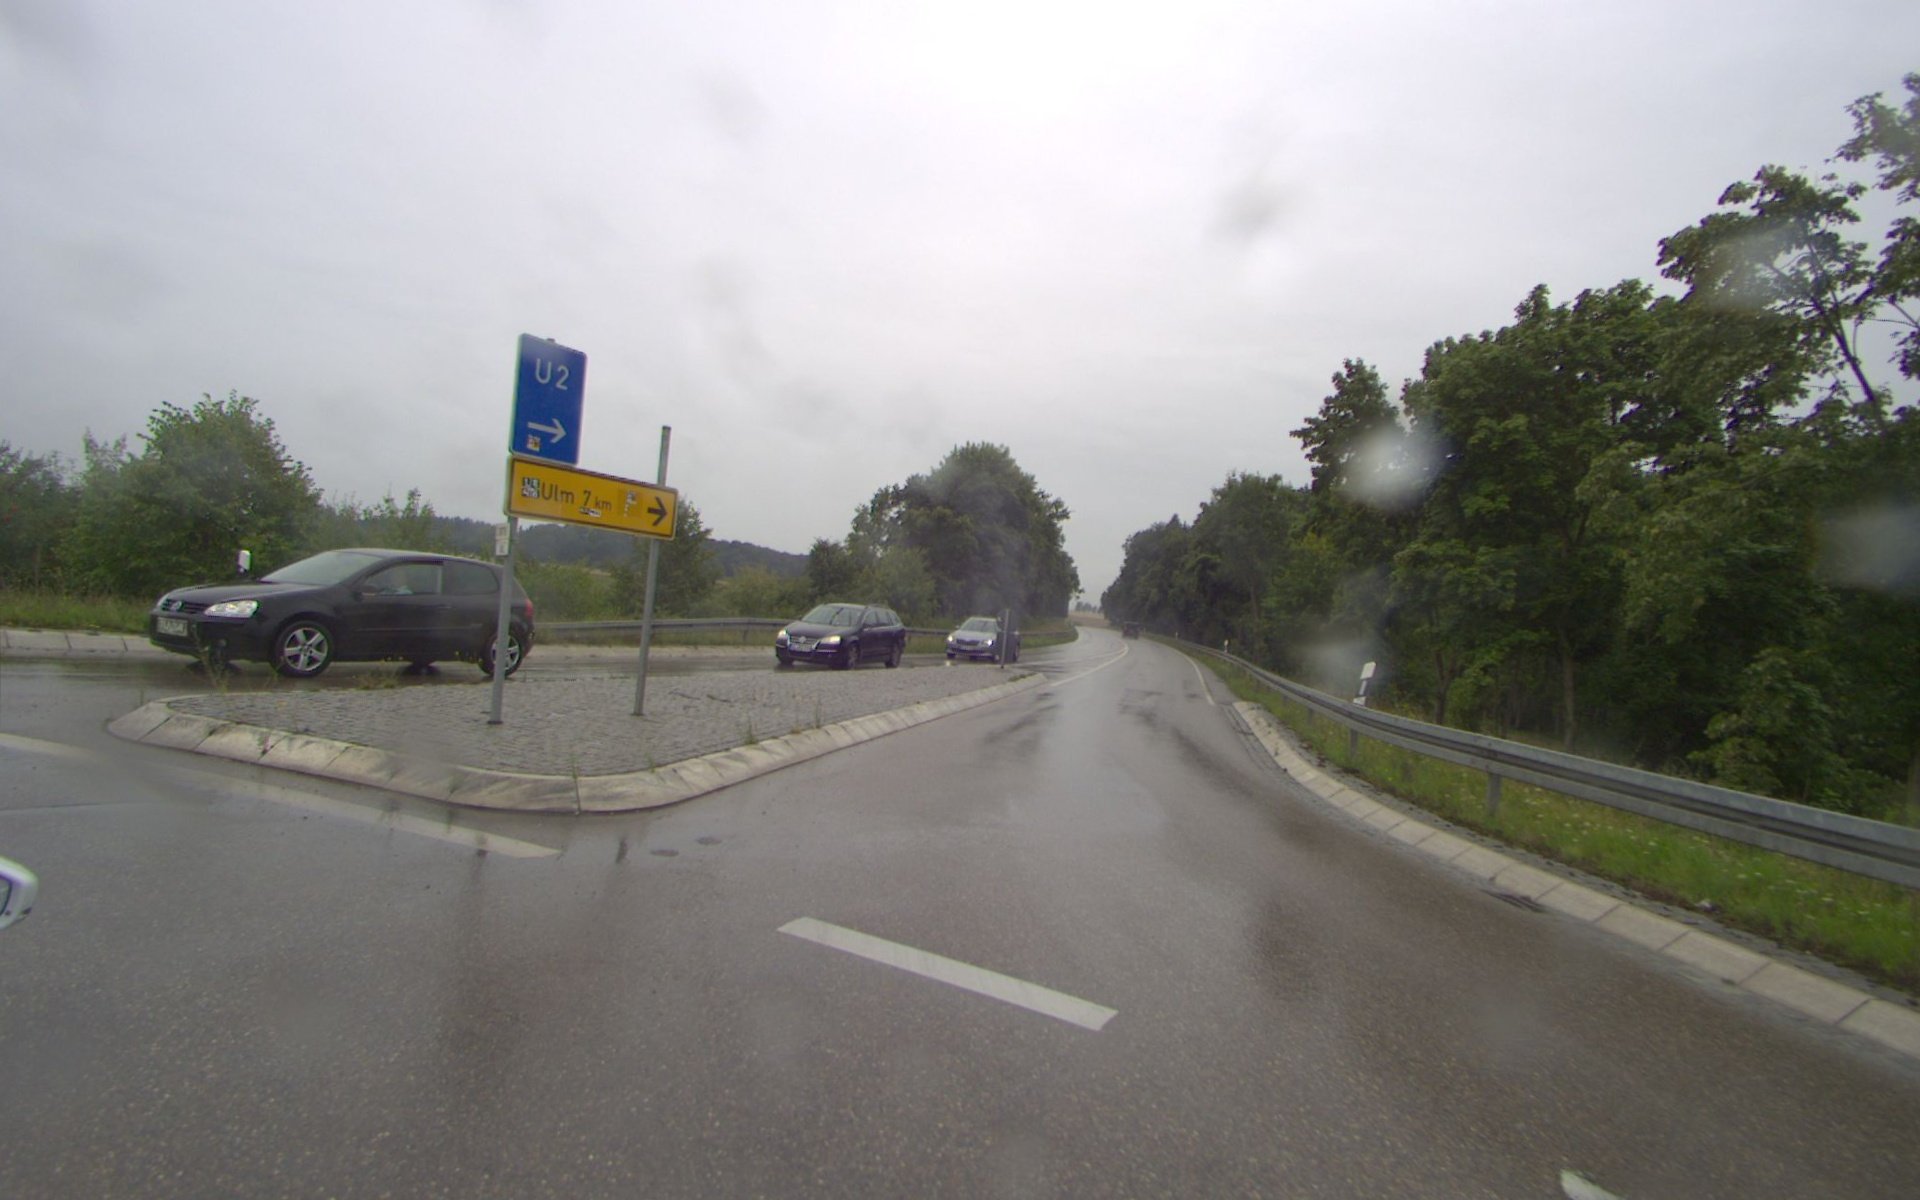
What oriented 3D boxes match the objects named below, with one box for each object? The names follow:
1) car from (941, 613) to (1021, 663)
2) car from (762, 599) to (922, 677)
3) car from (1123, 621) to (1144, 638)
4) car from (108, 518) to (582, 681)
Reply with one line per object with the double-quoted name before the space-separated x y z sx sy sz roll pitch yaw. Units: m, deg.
"car" 0.818 1.365 35.422 1.731 1.437 4.508 7 -1 14
"car" -2.564 0.921 23.157 1.913 1.387 4.507 7 -1 16
"car" 21.002 3.547 121.908 1.962 1.596 3.998 6 2 5
"car" -6.985 0.131 12.065 1.840 1.437 4.503 7 -1 24
